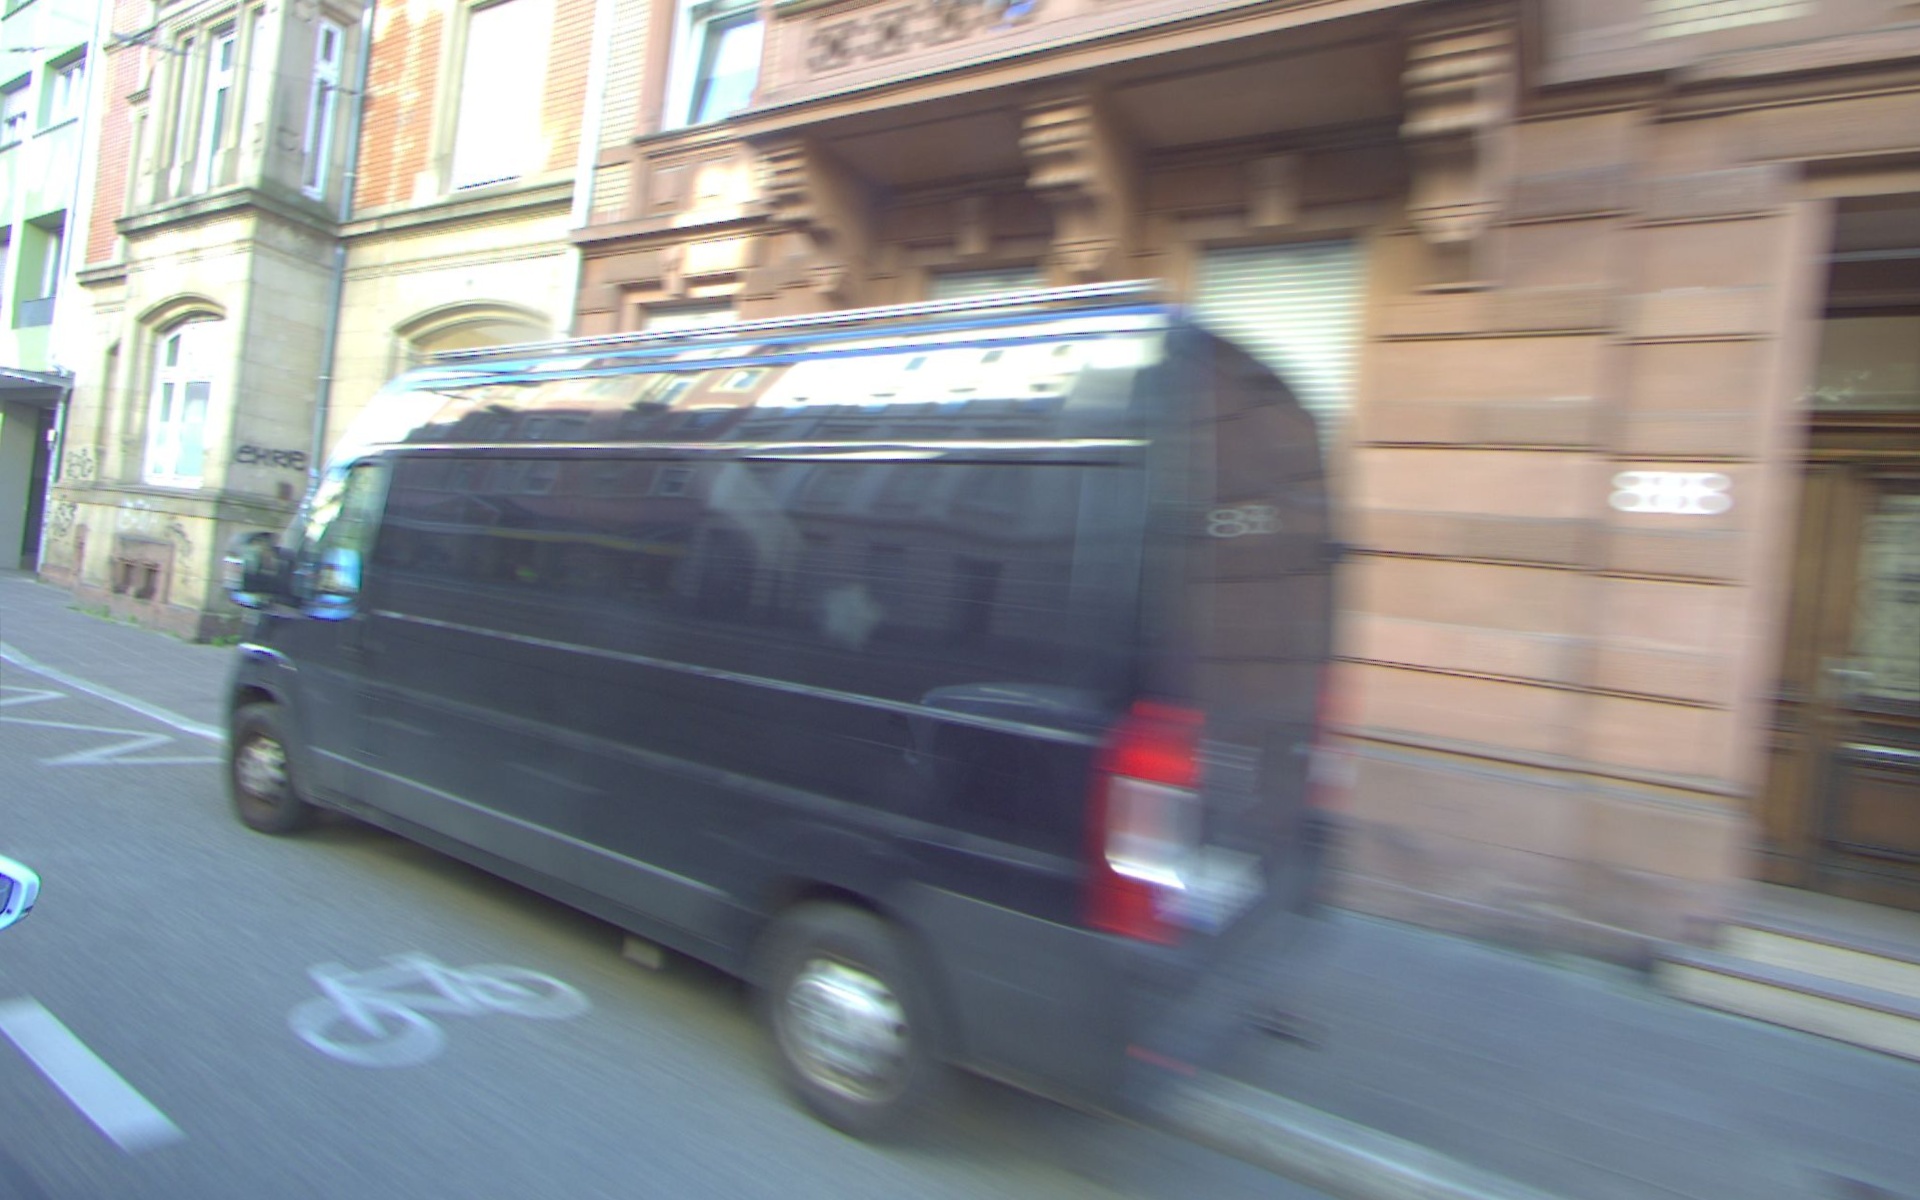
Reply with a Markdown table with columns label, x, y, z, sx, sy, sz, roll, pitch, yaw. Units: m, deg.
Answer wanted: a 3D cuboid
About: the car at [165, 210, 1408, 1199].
| label | x | y | z | sx | sy | sz | roll | pitch | yaw |
| --- | --- | --- | --- | --- | --- | --- | --- | --- | --- |
| car | -1.229 | 0.141 | 4.781 | 5.627 | 2.468 | 2.272 | 7 | 2 | 34 |
